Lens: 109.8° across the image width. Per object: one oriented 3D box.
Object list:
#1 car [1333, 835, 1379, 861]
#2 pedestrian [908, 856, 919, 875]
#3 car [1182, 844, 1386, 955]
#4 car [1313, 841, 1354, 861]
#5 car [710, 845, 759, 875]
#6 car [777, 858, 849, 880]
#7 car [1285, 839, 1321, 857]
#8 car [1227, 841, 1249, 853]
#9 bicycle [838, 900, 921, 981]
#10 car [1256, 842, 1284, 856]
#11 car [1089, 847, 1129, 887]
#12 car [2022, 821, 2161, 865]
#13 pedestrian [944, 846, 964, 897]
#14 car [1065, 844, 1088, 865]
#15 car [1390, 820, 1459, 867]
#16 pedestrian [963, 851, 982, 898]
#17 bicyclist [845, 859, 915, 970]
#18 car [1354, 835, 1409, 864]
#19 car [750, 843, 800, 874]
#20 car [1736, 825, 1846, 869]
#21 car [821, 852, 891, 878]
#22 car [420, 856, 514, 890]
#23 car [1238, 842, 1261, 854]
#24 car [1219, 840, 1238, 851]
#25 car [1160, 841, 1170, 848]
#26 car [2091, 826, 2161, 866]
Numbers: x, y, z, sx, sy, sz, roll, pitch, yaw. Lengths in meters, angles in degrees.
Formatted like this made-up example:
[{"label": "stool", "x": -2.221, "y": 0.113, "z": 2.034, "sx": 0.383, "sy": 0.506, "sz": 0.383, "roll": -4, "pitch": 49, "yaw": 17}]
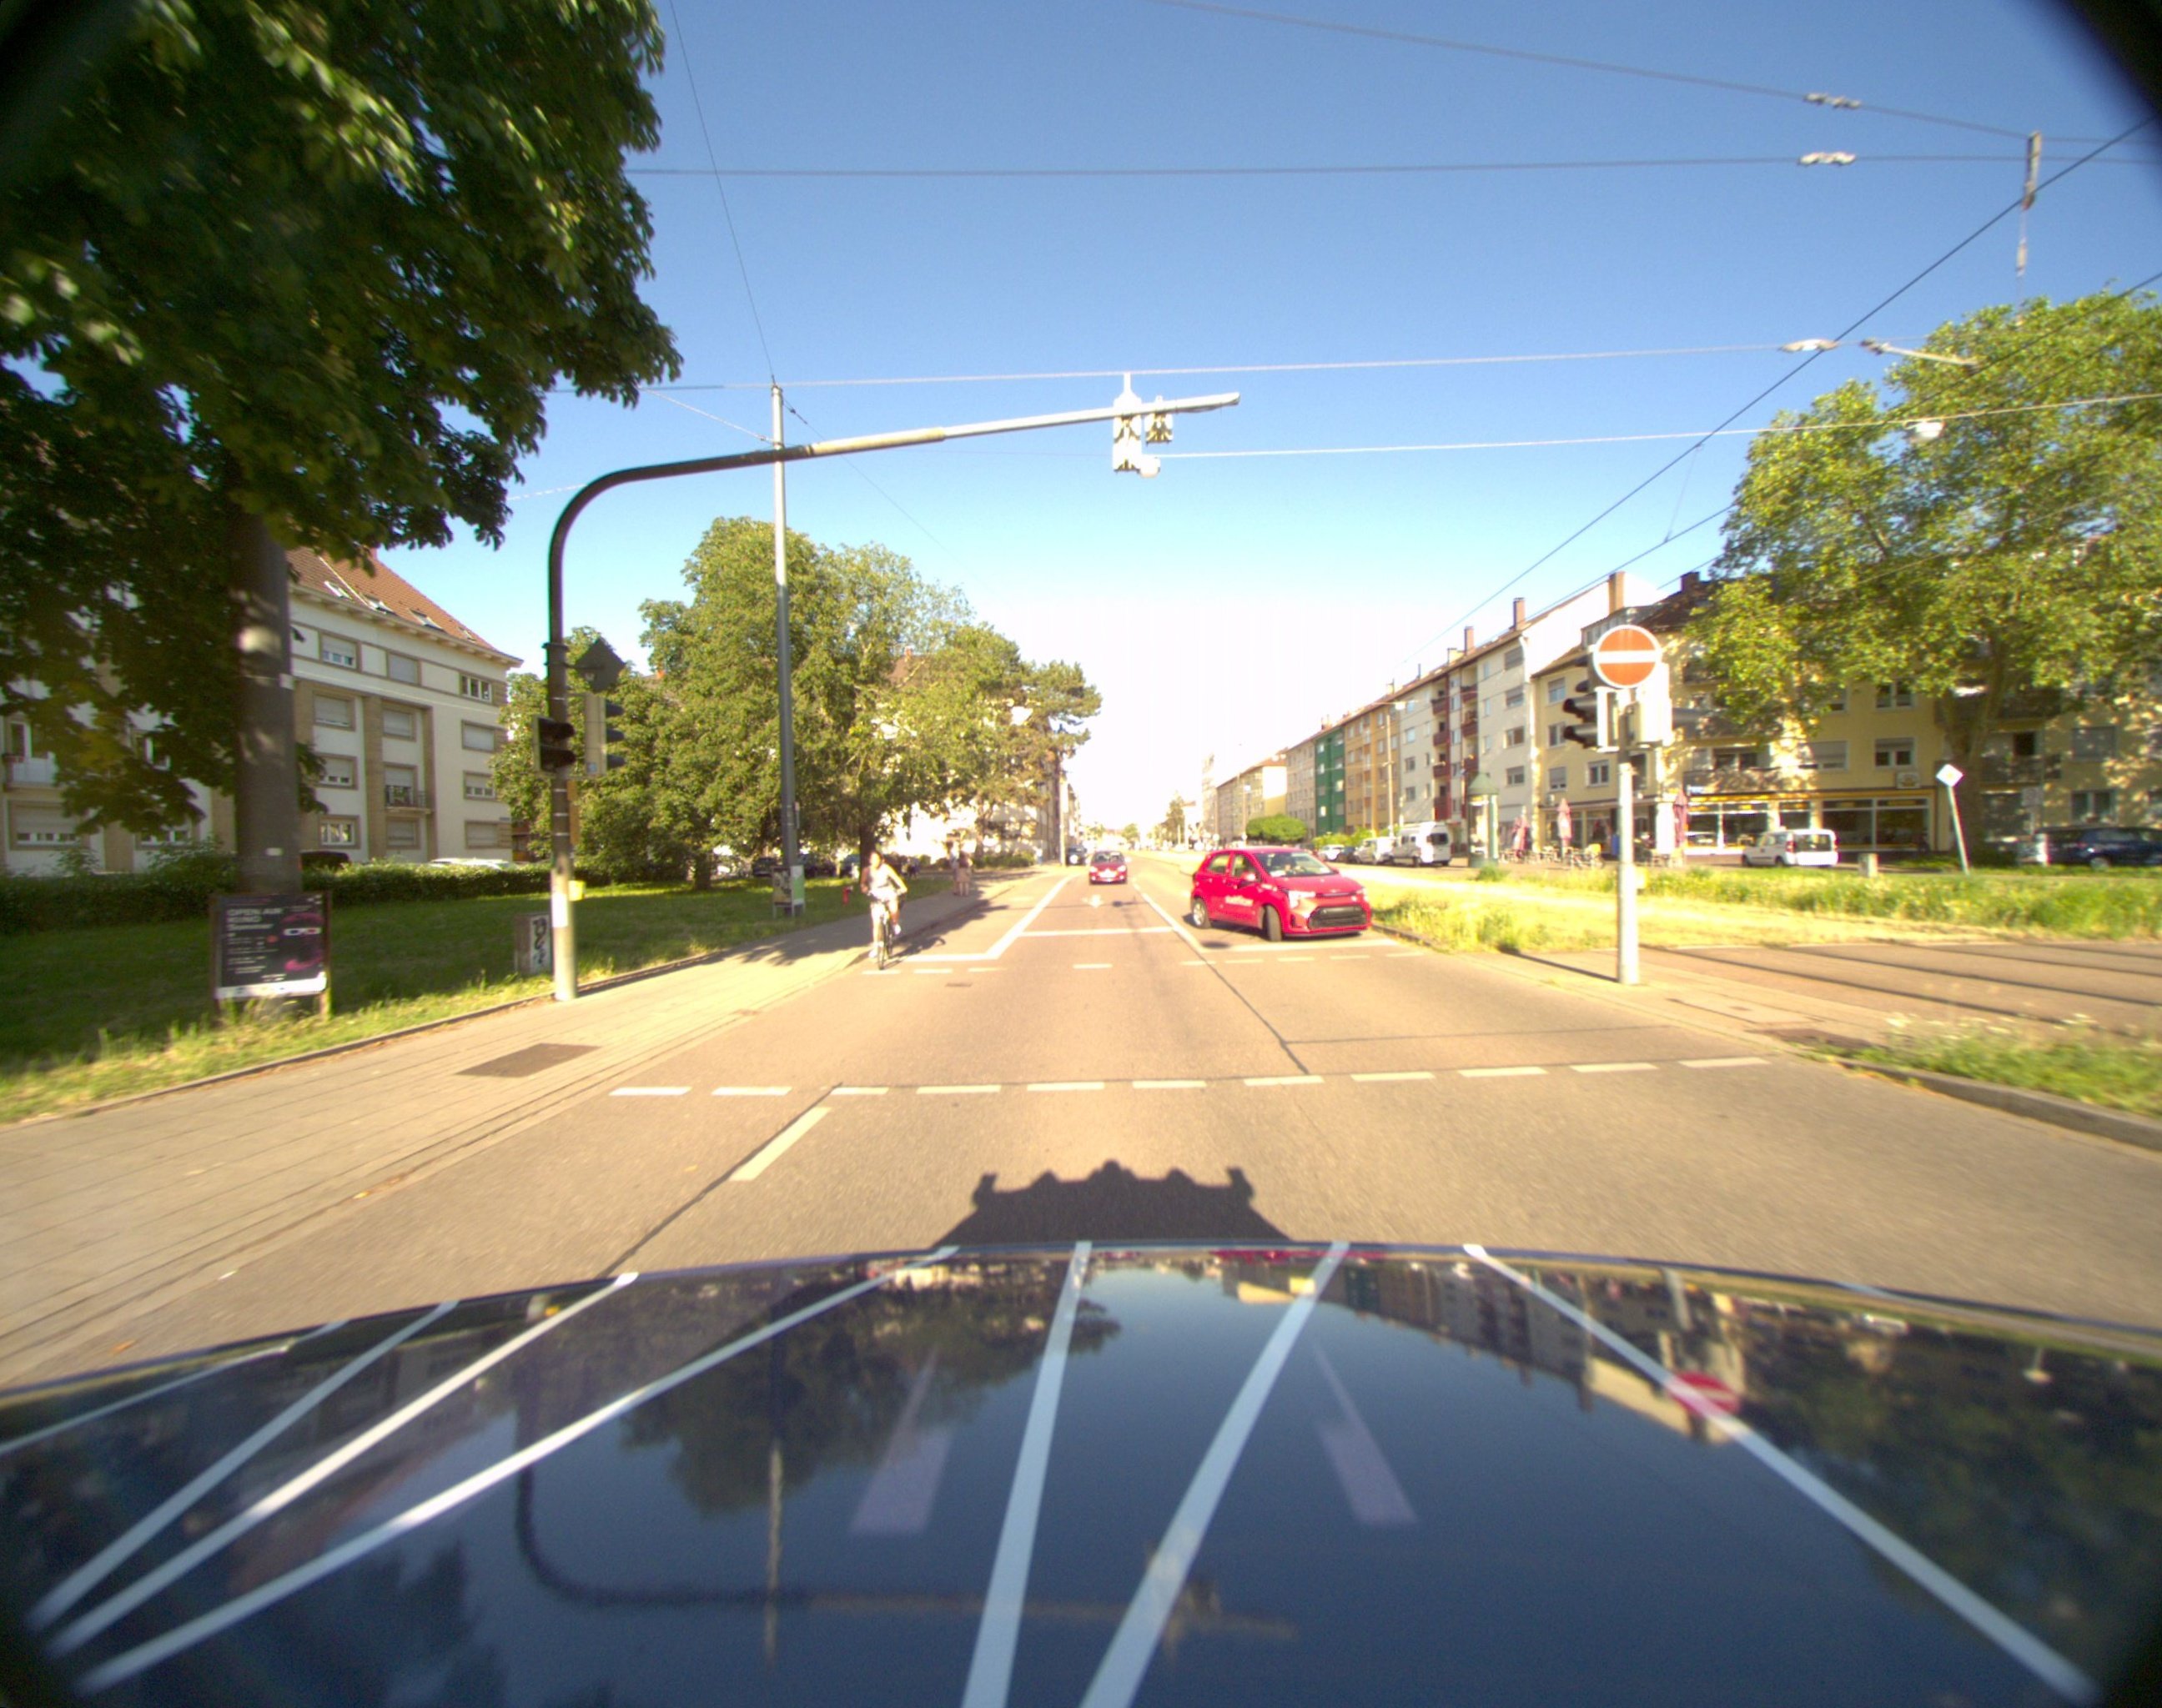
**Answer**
[{"label": "car", "x": 22.494, "y": -0.507, "z": 62.371, "sx": 2.144, "sy": 2.022, "sz": 4.864, "roll": -1, "pitch": 1, "yaw": 2}, {"label": "pedestrian", "x": -9.569, "y": 0.664, "z": 43.441, "sx": 0.459, "sy": 1.072, "sz": 0.613, "roll": -1, "pitch": 1, "yaw": 1}, {"label": "car", "x": 3.258, "y": 0.640, "z": 12.903, "sx": 1.545, "sy": 1.522, "sz": 3.597, "roll": -4, "pitch": 2, "yaw": -19}, {"label": "car", "x": 22.613, "y": -0.289, "z": 68.265, "sx": 2.144, "sy": 1.697, "sz": 5.157, "roll": -1, "pitch": 1, "yaw": 2}, {"label": "car", "x": -21.236, "y": 0.344, "z": 46.766, "sx": 2.001, "sy": 1.689, "sz": 4.271, "roll": -2, "pitch": 1, "yaw": -15}, {"label": "car", "x": -15.393, "y": 0.822, "z": 43.831, "sx": 1.997, "sy": 1.060, "sz": 4.280, "roll": -1, "pitch": 1, "yaw": 11}, {"label": "car", "x": 22.754, "y": -0.629, "z": 78.038, "sx": 2.144, "sy": 1.697, "sz": 5.445, "roll": -1, "pitch": 1, "yaw": 2}, {"label": "car", "x": 23.395, "y": -1.099, "z": 113.420, "sx": 2.144, "sy": 1.697, "sz": 5.402, "roll": -1, "pitch": 1, "yaw": 2}, {"label": "bicycle", "x": -2.818, "y": 1.183, "z": 10.804, "sx": 0.684, "sy": 0.925, "sz": 1.736, "roll": -1, "pitch": 1, "yaw": 1}, {"label": "car", "x": 23.212, "y": -0.630, "z": 93.524, "sx": 2.144, "sy": 1.697, "sz": 5.445, "roll": -1, "pitch": 1, "yaw": 2}, {"label": "car", "x": 1.231, "y": 0.515, "z": 33.290, "sx": 1.619, "sy": 1.537, "sz": 4.277, "roll": -1, "pitch": 1, "yaw": 2}, {"label": "car", "x": 35.196, "y": -0.370, "z": 25.614, "sx": 3.990, "sy": 1.429, "sz": 1.720, "roll": 0, "pitch": 2, "yaw": 24}, {"label": "pedestrian", "x": -4.257, "y": 0.581, "z": 25.451, "sx": 0.567, "sy": 1.688, "sz": 0.595, "roll": -2, "pitch": 1, "yaw": -16}, {"label": "car", "x": -0.393, "y": 0.007, "z": 69.314, "sx": 1.998, "sy": 1.806, "sz": 3.999, "roll": -2, "pitch": 1, "yaw": 1}, {"label": "car", "x": 22.067, "y": -0.700, "z": 49.065, "sx": 2.230, "sy": 2.808, "sz": 5.228, "roll": -1, "pitch": 1, "yaw": 2}, {"label": "pedestrian", "x": -3.558, "y": 0.666, "z": 24.905, "sx": 0.596, "sy": 1.518, "sz": 0.633, "roll": -1, "pitch": 1, "yaw": -9}, {"label": "bicyclist", "x": -2.825, "y": 0.822, "z": 10.765, "sx": 0.678, "sy": 1.466, "sz": 0.936, "roll": -1, "pitch": 1, "yaw": 1}, {"label": "car", "x": 22.235, "y": -0.379, "z": 56.411, "sx": 2.144, "sy": 2.022, "sz": 5.157, "roll": -1, "pitch": 1, "yaw": 2}, {"label": "car", "x": -18.399, "y": 0.238, "z": 45.851, "sx": 2.000, "sy": 1.689, "sz": 4.272, "roll": -2, "pitch": 1, "yaw": -12}, {"label": "car", "x": 32.252, "y": -0.337, "z": 34.659, "sx": 1.909, "sy": 1.871, "sz": 4.003, "roll": -1, "pitch": 1, "yaw": 13}, {"label": "car", "x": -12.679, "y": 0.580, "z": 43.114, "sx": 1.997, "sy": 1.316, "sz": 4.280, "roll": -1, "pitch": 1, "yaw": 11}, {"label": "car", "x": -34.293, "y": 1.008, "z": 42.590, "sx": 1.905, "sy": 1.680, "sz": 4.084, "roll": -1, "pitch": 1, "yaw": 0}, {"label": "car", "x": 23.602, "y": -0.865, "z": 106.628, "sx": 2.144, "sy": 1.697, "sz": 5.402, "roll": -1, "pitch": 1, "yaw": 2}, {"label": "car", "x": 23.641, "y": -1.389, "z": 121.898, "sx": 2.144, "sy": 1.697, "sz": 5.402, "roll": -1, "pitch": 1, "yaw": 2}, {"label": "car", "x": 21.215, "y": -2.410, "z": 191.636, "sx": 2.144, "sy": 1.697, "sz": 5.402, "roll": -1, "pitch": 1, "yaw": 2}, {"label": "car", "x": 43.608, "y": -0.324, "z": 30.272, "sx": 1.996, "sy": 1.543, "sz": 3.938, "roll": -1, "pitch": 1, "yaw": 13}]
